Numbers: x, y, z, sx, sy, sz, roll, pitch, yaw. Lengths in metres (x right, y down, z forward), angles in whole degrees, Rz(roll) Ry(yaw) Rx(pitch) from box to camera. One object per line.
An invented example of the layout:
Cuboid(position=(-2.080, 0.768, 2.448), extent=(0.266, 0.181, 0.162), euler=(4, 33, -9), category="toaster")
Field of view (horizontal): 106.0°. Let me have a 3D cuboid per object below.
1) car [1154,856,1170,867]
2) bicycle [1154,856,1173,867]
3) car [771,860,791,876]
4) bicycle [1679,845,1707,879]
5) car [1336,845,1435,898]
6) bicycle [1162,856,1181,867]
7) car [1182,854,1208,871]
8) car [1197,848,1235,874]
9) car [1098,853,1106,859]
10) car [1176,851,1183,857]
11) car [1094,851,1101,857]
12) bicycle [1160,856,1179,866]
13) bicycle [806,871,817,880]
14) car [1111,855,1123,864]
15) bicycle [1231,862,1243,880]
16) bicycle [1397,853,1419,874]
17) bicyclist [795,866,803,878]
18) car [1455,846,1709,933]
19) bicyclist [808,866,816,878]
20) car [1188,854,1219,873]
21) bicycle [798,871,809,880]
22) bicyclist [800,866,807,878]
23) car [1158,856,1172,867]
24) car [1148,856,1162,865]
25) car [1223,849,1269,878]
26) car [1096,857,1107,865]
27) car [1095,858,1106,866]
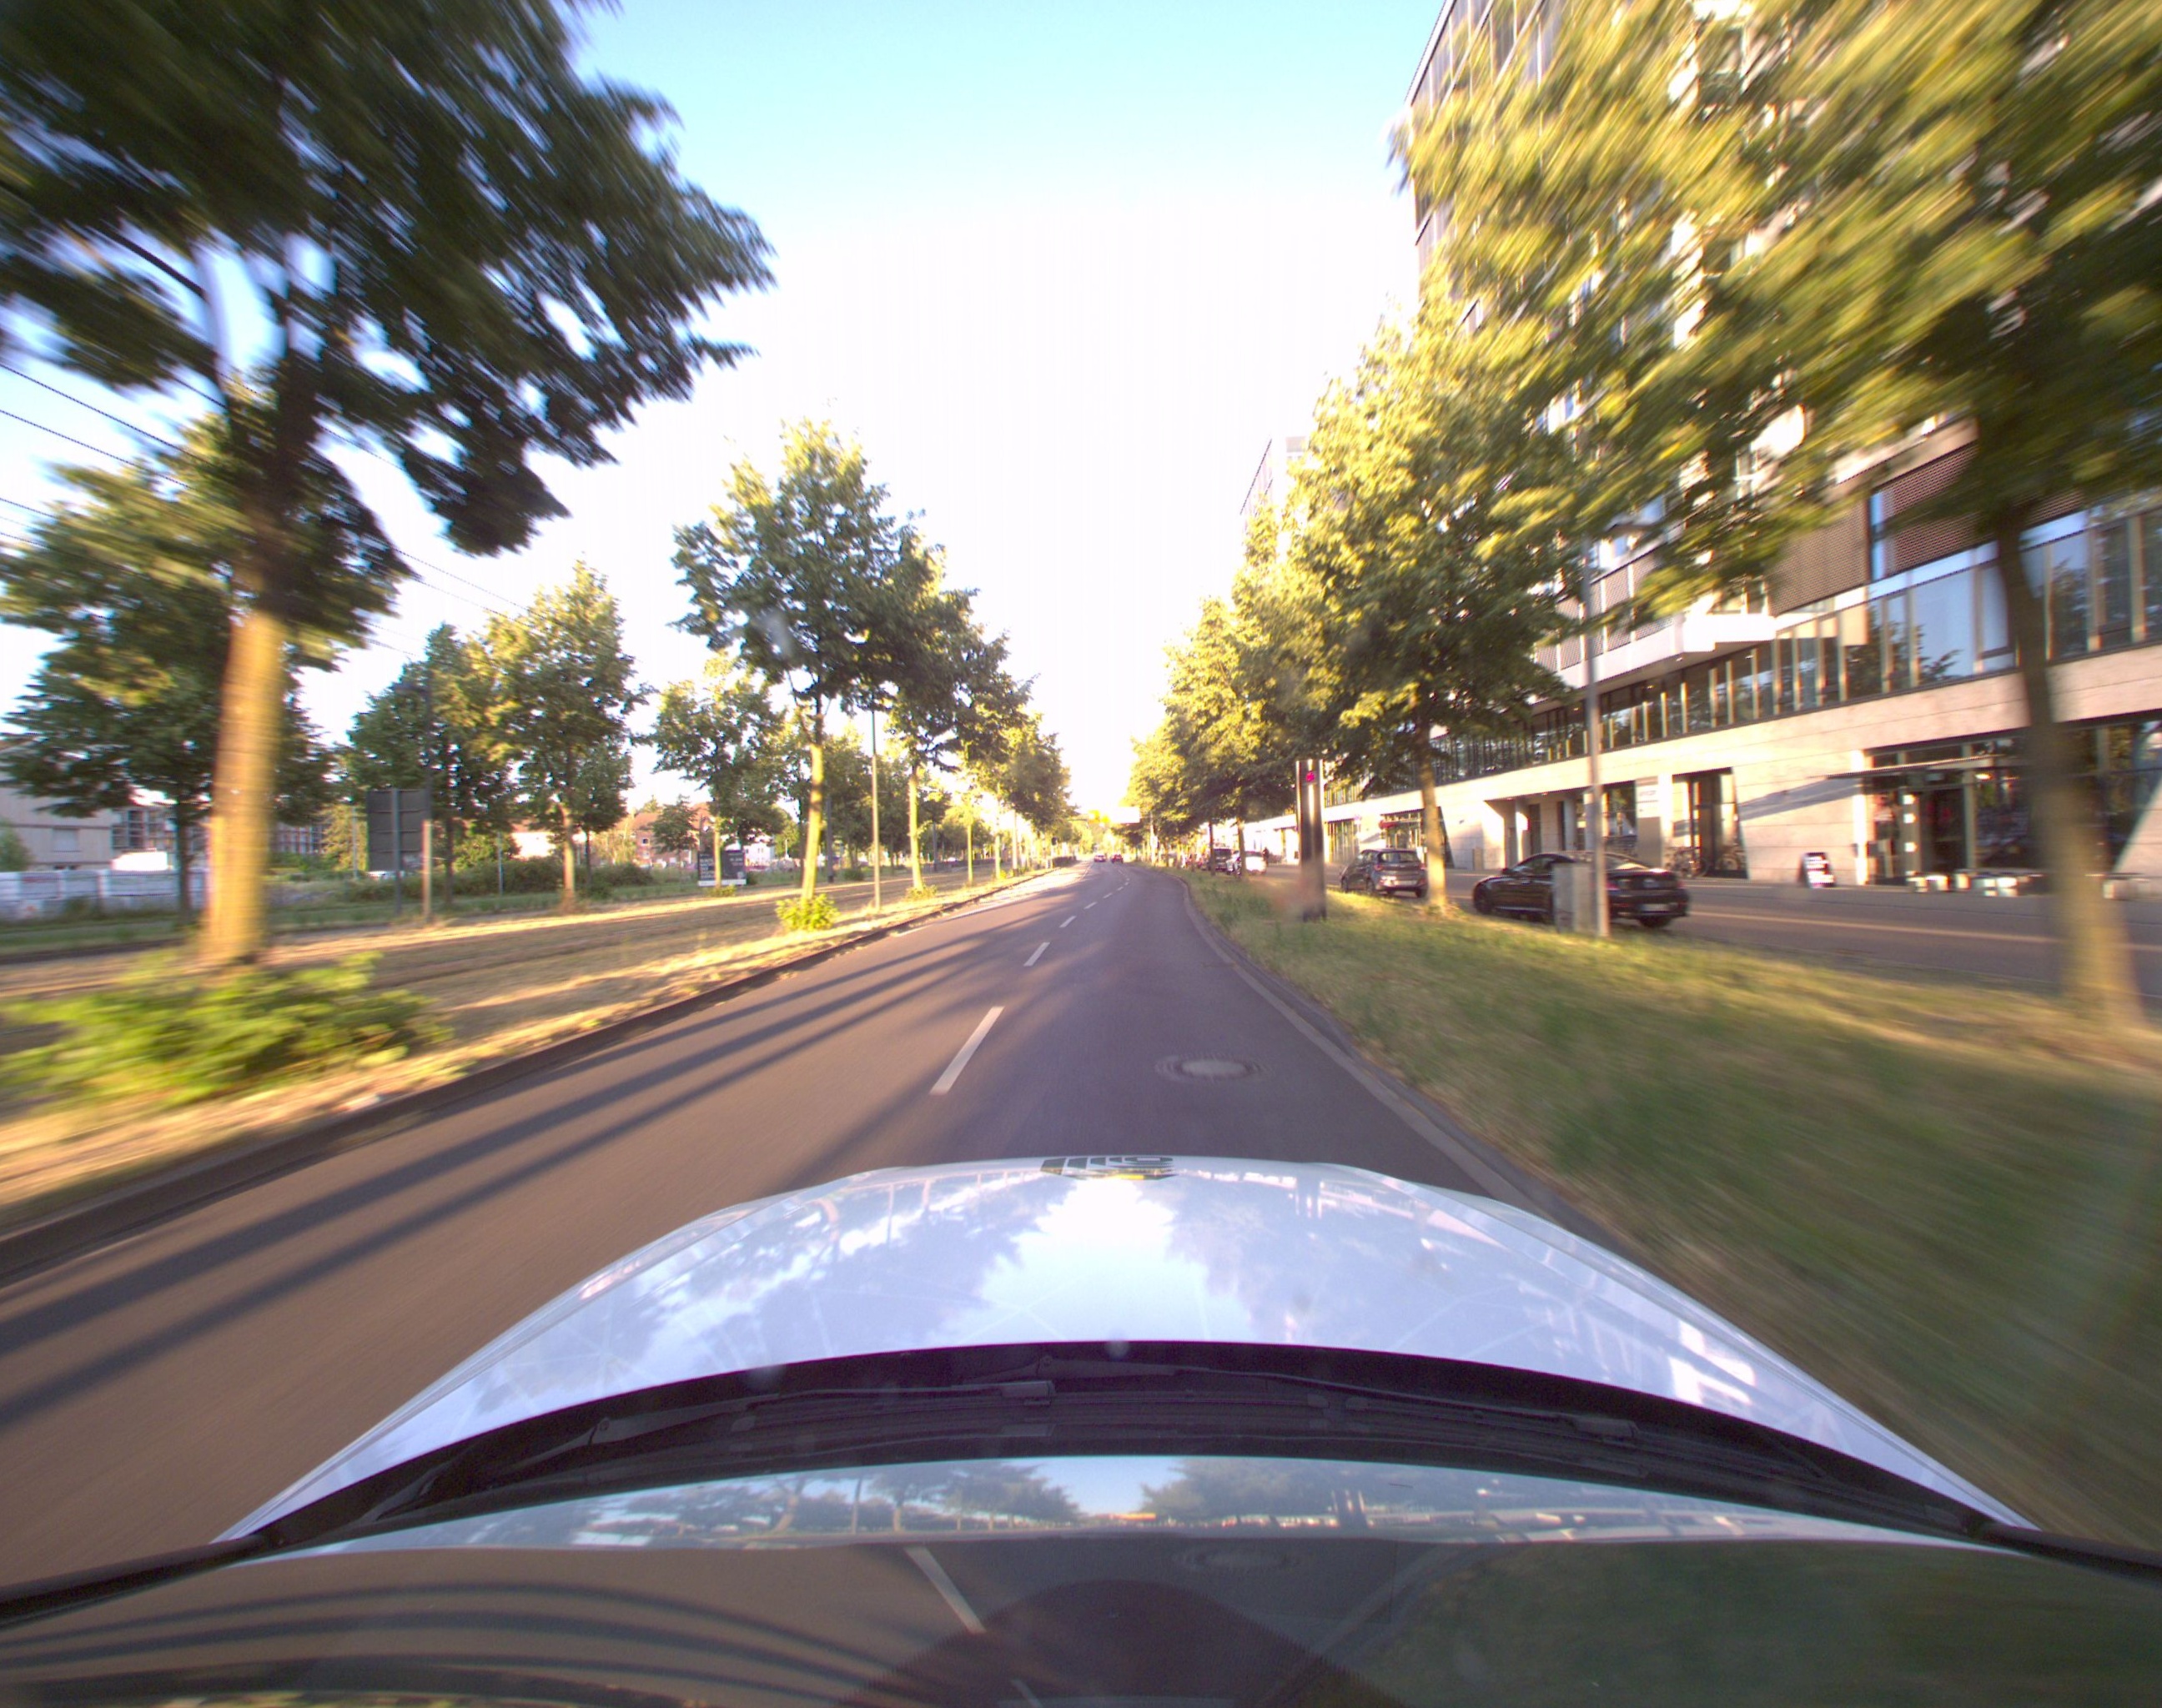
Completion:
Cuboid(position=(11.406, 1.034, 115.124), extent=(1.772, 1.472, 4.287), euler=(-2, 0, -1), category="car")
Cuboid(position=(8.626, 0.756, 85.338), extent=(1.944, 1.054, 0.542), euler=(2, 0, -14), category="bicycle")
Cuboid(position=(-43.458, 2.024, 118.037), extent=(2.426, 2.224, 5.873), euler=(-2, 0, -23), category="car")
Cuboid(position=(19.270, 0.253, 25.671), extent=(0.449, 1.027, 1.402), euler=(-2, 0, 27), category="bicycle")
Cuboid(position=(9.371, 0.509, 25.387), extent=(1.704, 1.515, 3.759), euler=(0, 0, 0), category="car")
Cuboid(position=(9.810, 0.810, 88.104), extent=(1.939, 1.054, 0.408), euler=(2, 0, -7), category="bicycle")
Cuboid(position=(10.488, 0.774, 75.268), extent=(1.862, 1.411, 4.648), euler=(-2, 0, 2), category="car")
Cuboid(position=(10.245, 0.515, 62.035), extent=(1.988, 1.852, 4.663), euler=(-2, 0, -1), category="car")
Cuboid(position=(4.995, 0.503, 195.259), extent=(1.905, 1.486, 4.000), euler=(-2, 0, 0), category="car")
Cuboid(position=(29.414, 0.097, 243.968), extent=(1.984, 1.728, 4.005), euler=(-2, 0, 5), category="car")
Cuboid(position=(4.220, 0.099, 210.718), extent=(1.905, 1.486, 4.000), euler=(-2, 0, 0), category="car")
Cuboid(position=(9.453, 0.753, 86.892), extent=(1.941, 1.054, 0.543), euler=(2, 0, -10), category="bicycle")
Cuboid(position=(-33.438, 2.691, 101.006), extent=(0.617, 1.011, 2.082), euler=(-2, 0, -1), category="bicycle")
Cuboid(position=(5.959, 0.941, 135.575), extent=(1.905, 1.486, 4.000), euler=(-1, 0, 0), category="car")
Cuboid(position=(7.574, 0.832, 39.660), extent=(0.314, 0.823, 1.553), euler=(-2, 0, 2), category="bicycle")
Cuboid(position=(17.250, 0.484, 42.935), extent=(0.468, 1.039, 1.807), euler=(-2, 0, 2), category="bicycle")
Cuboid(position=(-34.137, 2.130, 98.669), extent=(0.617, 1.421, 0.937), euler=(-2, -1, -1), category="bicyclist")
Cuboid(position=(9.209, 0.572, 15.569), extent=(1.847, 1.367, 4.832), euler=(-1, 0, -1), category="car")
Cuboid(position=(-33.447, 2.279, 101.186), extent=(0.617, 1.456, 0.937), euler=(-2, -1, -1), category="bicyclist")
Cuboid(position=(10.322, 0.756, 68.763), extent=(1.804, 1.471, 4.663), euler=(-2, 0, -1), category="car")
Cuboid(position=(-34.347, 2.679, 100.774), extent=(0.617, 1.011, 2.082), euler=(-2, 0, -1), category="bicycle")
Cuboid(position=(-34.361, 2.248, 100.866), extent=(0.617, 1.456, 0.937), euler=(-2, -1, -1), category="bicyclist")
Cuboid(position=(11.215, 0.976, 108.359), extent=(1.569, 1.472, 3.883), euler=(-2, 0, 2), category="car")
Cuboid(position=(11.866, 1.030, 130.487), extent=(1.752, 1.466, 4.156), euler=(-2, 0, -1), category="car")
Cuboid(position=(10.099, 0.544, 50.135), extent=(1.986, 1.642, 4.880), euler=(-2, 0, 2), category="car")
Cuboid(position=(3.888, 1.249, 152.763), extent=(1.905, 1.486, 4.000), euler=(-2, 0, 0), category="car")
Cuboid(position=(3.783, 1.490, 159.279), extent=(1.905, 1.486, 4.000), euler=(-2, 0, 0), category="car")
